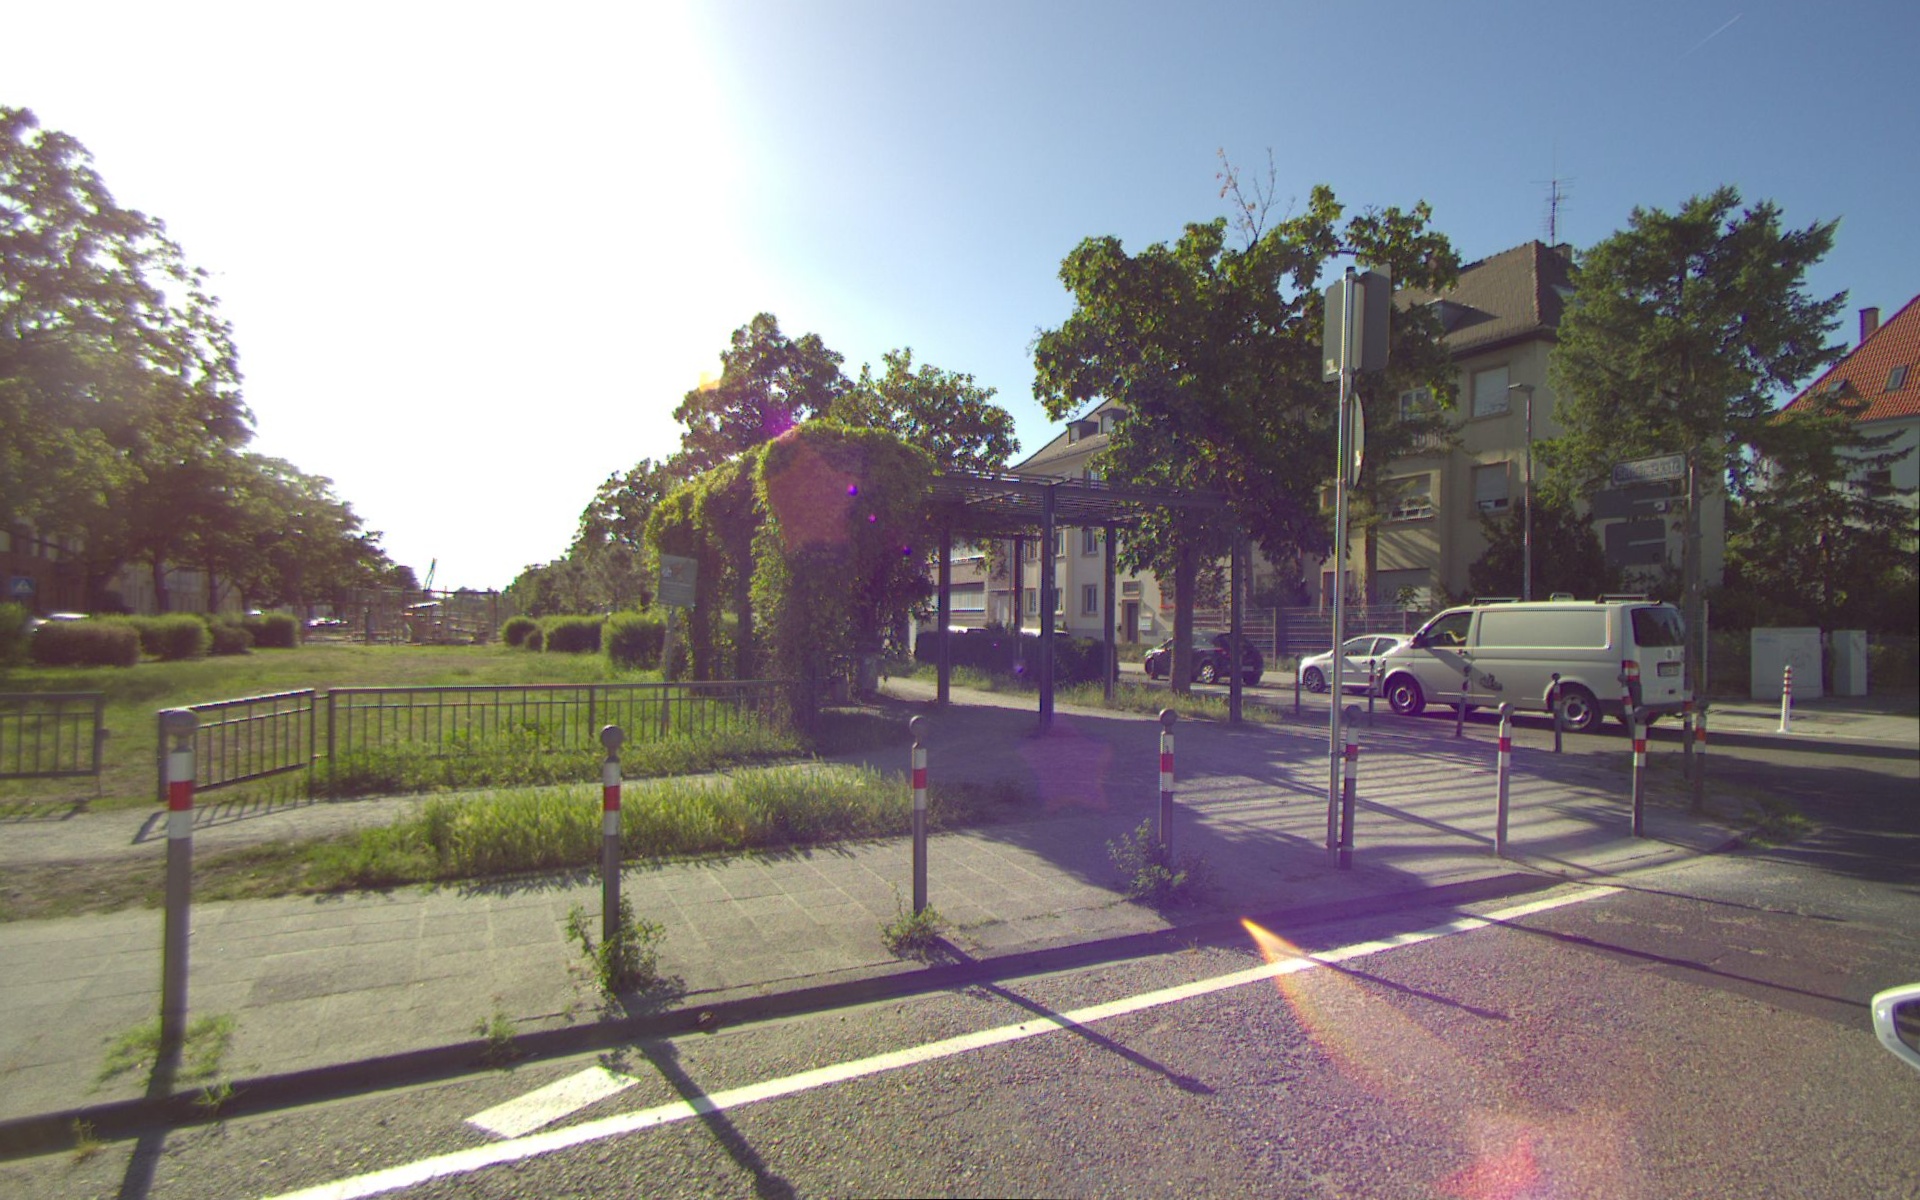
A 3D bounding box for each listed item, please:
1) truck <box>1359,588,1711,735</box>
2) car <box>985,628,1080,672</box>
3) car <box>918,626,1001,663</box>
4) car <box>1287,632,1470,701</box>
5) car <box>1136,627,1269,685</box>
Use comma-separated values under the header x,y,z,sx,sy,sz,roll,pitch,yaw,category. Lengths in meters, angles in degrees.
x,y,z,sx,sy,sz,roll,pitch,yaw,category
9.303,0.931,16.769,1.974,2.063,4.841,1,-1,-27,truck
2.666,1.843,37.749,1.778,1.514,3.974,2,-2,-26,car
-0.069,1.898,43.277,1.781,1.514,3.967,3,-2,-31,car
9.633,1.495,23.380,1.685,1.416,3.751,2,-2,-27,car
6.824,1.552,28.622,1.655,1.514,3.801,2,-2,-26,car
